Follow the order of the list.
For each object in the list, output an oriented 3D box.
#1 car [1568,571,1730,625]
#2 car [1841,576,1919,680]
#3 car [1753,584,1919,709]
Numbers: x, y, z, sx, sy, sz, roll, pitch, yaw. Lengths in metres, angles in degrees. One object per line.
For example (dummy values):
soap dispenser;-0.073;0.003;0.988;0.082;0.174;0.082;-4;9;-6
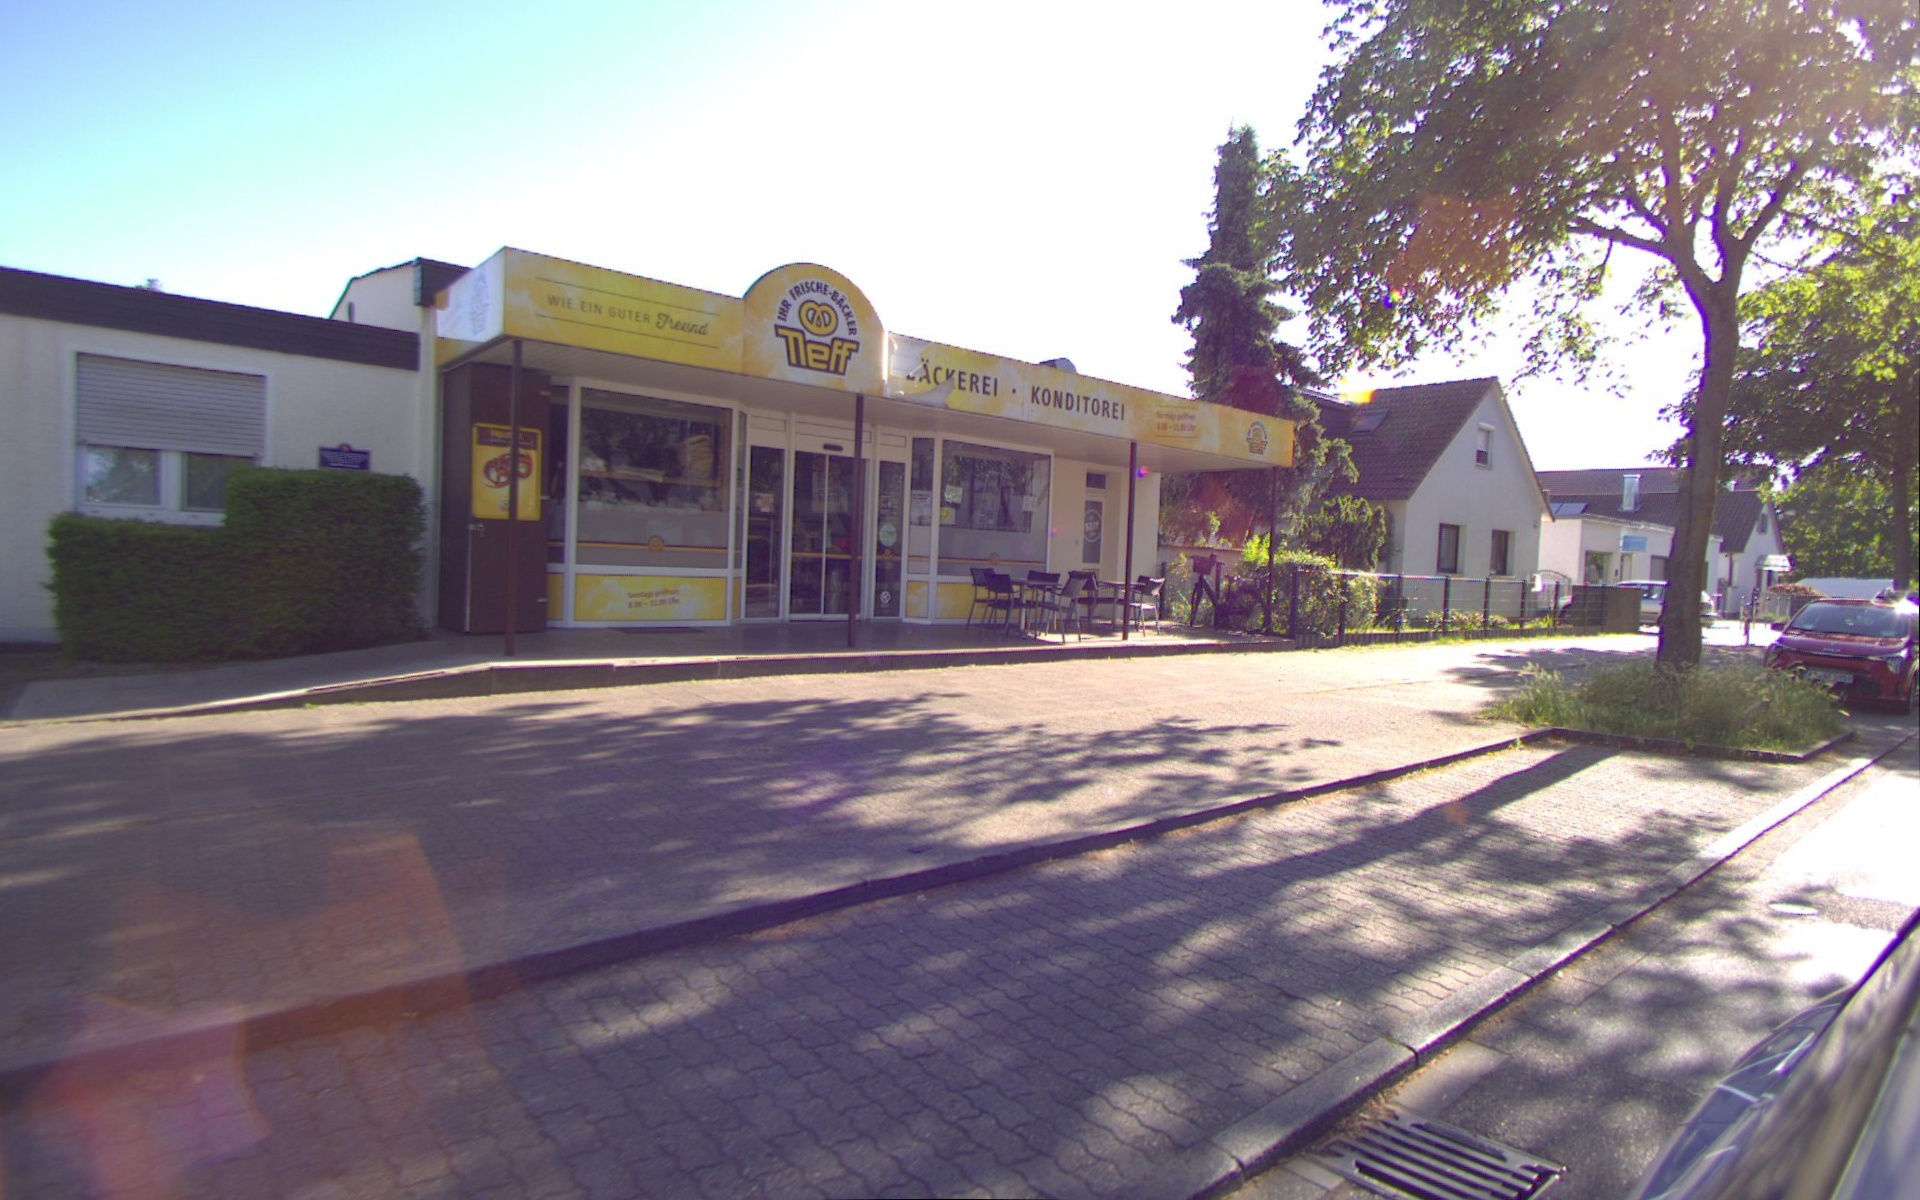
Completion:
car;19.867;-0.058;29.271;1.667;1.457;3.615;-1;0;-43
car;17.801;0.486;18.376;4.283;1.714;1.942;0;3;-39
car;12.902;0.552;14.437;3.710;1.439;1.690;-1;5;-40
